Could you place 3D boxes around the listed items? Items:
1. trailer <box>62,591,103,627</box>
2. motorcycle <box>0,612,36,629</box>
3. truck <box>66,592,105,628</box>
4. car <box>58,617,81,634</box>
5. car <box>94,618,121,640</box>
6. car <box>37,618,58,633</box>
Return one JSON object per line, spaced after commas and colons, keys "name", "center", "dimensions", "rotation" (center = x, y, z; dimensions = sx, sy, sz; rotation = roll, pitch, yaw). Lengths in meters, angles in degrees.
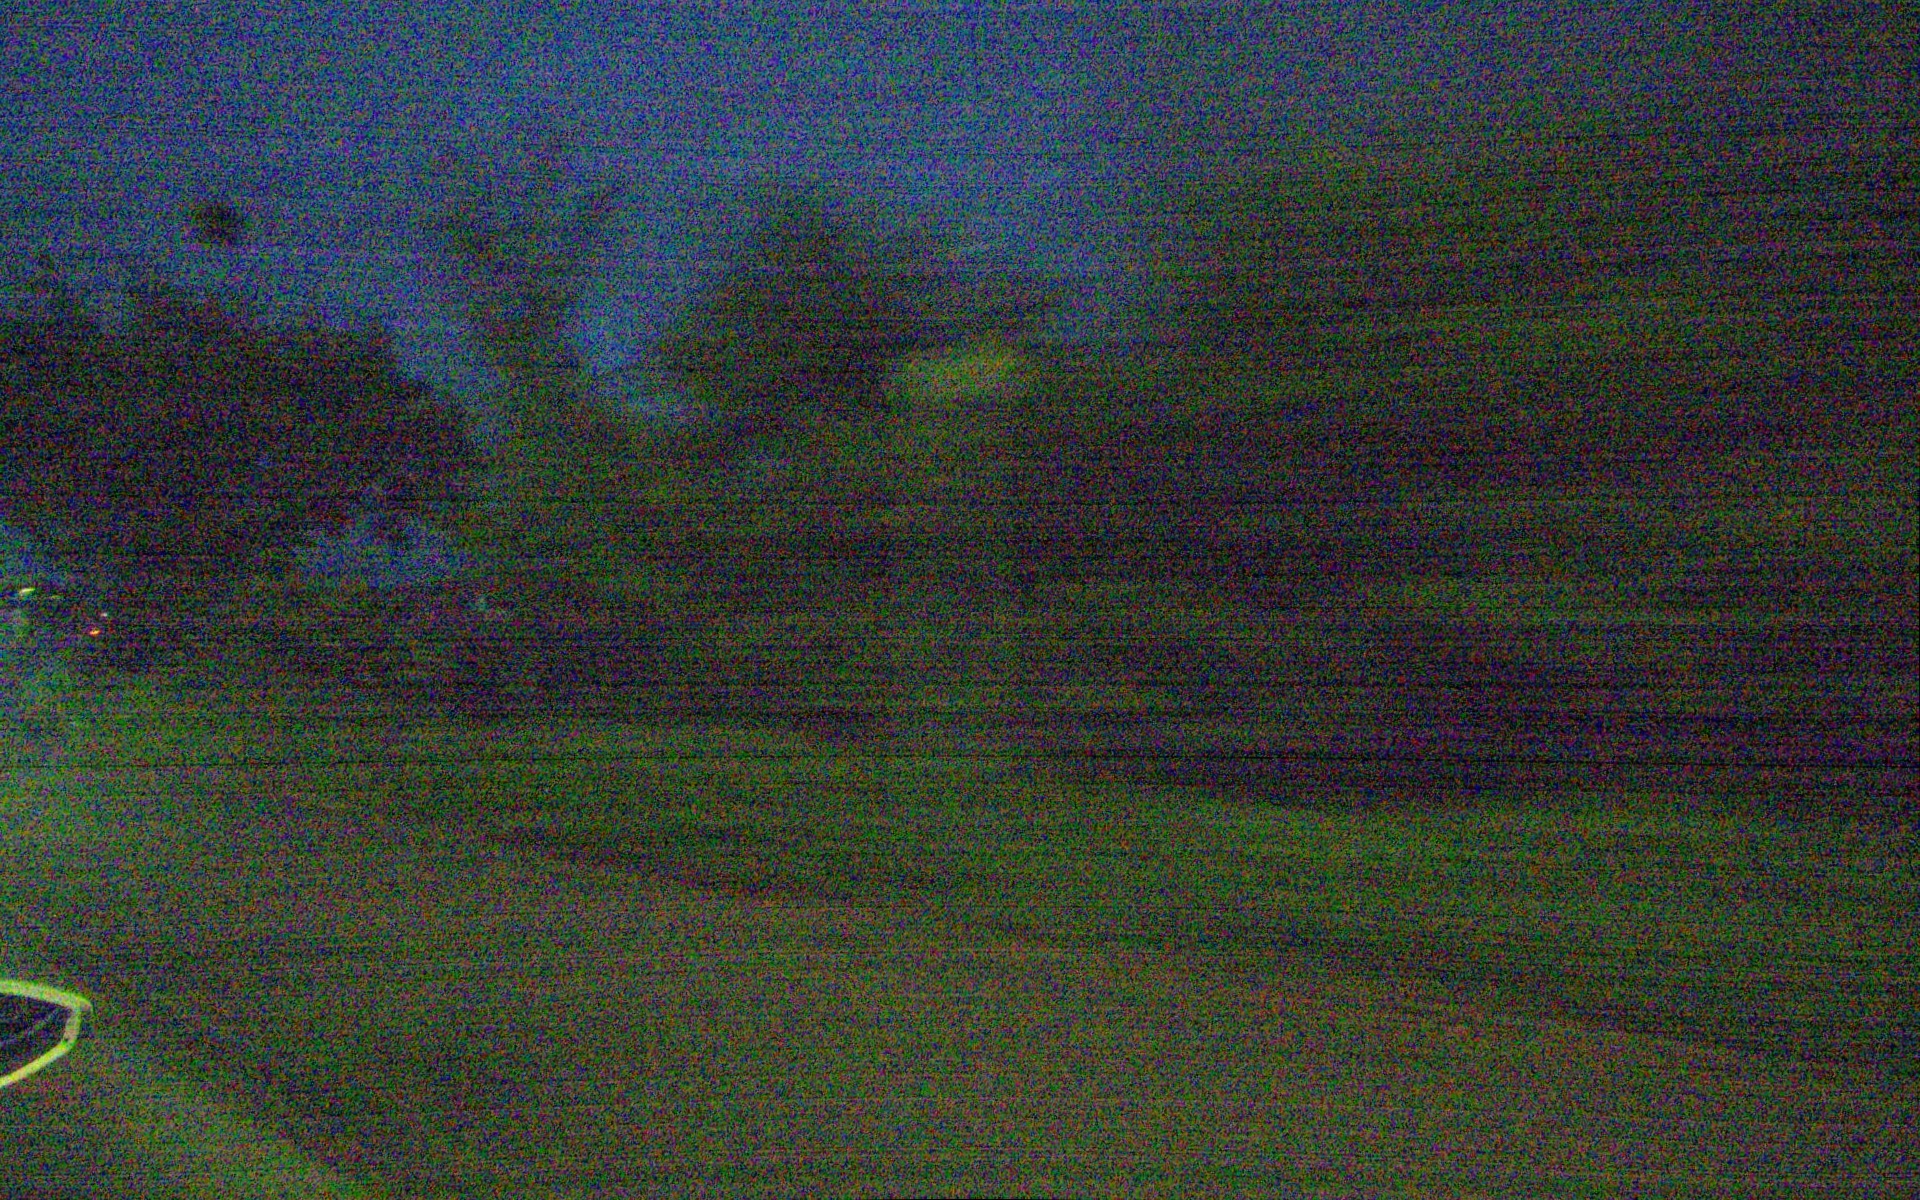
{"name": "trailer", "center": [-131.601, 1.289, 150.166], "dimensions": [3.819, 4.954, 10.695], "rotation": [3, -1, -45]}
{"name": "motorcycle", "center": [-116.347, 2.482, 123.573], "dimensions": [1.298, 2.039, 3.997], "rotation": [3, -1, -10]}
{"name": "truck", "center": [-128.108, 1.442, 146.645], "dimensions": [6.287, 4.954, 3.819], "rotation": [2, -1, 45]}
{"name": "car", "center": [-112.421, 3.226, 126.434], "dimensions": [1.980, 1.922, 3.961], "rotation": [-2, 1, -44]}
{"name": "car", "center": [-89.644, 3.029, 105.368], "dimensions": [1.977, 2.041, 3.966], "rotation": [-3, 3, -39]}
{"name": "car", "center": [-105.670, 2.952, 115.936], "dimensions": [1.713, 1.761, 3.773], "rotation": [-1, -1, -42]}
